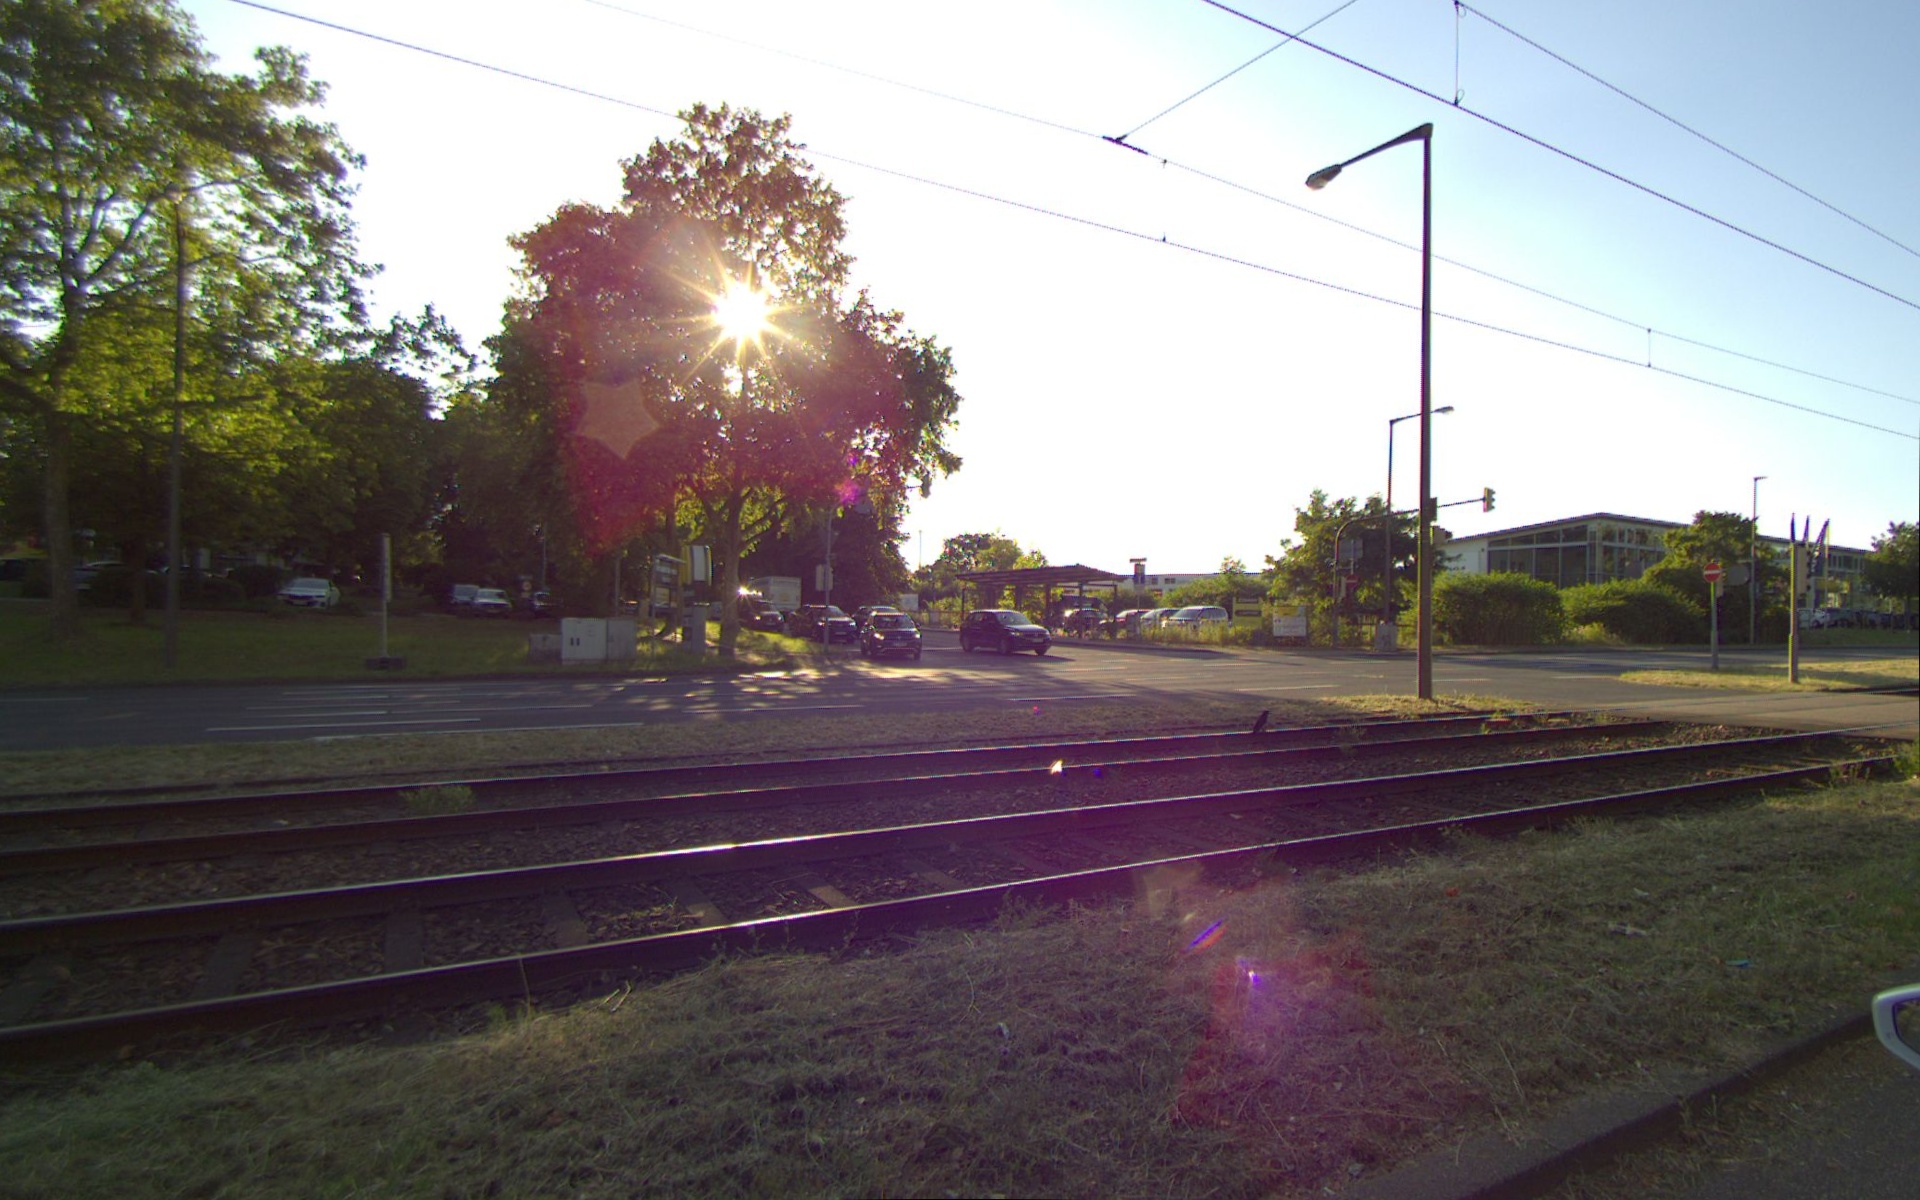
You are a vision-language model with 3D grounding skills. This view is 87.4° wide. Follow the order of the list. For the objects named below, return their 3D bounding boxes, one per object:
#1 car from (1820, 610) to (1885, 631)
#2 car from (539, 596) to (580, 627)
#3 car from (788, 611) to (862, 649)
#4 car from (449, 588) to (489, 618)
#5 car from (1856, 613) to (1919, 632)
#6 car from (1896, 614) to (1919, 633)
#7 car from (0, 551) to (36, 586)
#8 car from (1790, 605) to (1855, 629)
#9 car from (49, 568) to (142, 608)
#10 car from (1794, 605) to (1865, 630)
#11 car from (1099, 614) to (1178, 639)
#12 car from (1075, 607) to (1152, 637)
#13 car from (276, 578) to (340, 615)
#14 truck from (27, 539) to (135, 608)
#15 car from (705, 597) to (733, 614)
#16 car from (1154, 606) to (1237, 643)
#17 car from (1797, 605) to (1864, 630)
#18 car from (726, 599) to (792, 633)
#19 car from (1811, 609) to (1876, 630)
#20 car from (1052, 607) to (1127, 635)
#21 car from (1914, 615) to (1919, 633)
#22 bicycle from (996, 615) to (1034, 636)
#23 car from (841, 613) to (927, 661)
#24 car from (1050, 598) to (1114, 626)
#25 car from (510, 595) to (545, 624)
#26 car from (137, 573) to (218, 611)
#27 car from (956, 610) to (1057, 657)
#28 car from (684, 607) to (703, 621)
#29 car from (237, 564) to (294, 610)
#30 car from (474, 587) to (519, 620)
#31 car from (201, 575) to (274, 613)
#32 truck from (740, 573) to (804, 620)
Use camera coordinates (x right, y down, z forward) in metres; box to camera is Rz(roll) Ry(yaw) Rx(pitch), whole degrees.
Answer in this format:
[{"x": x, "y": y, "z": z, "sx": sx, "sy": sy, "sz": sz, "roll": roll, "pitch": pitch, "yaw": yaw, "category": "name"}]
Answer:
[{"x": 74.224, "y": 1.680, "z": 83.612, "sx": 3.940, "sy": 1.577, "sz": 1.735, "roll": 1, "pitch": 0, "yaw": 40, "category": "car"}, {"x": -20.429, "y": 0.555, "z": 51.145, "sx": 1.604, "sy": 1.477, "sz": 3.878, "roll": 2, "pitch": 0, "yaw": -27, "category": "car"}, {"x": -6.033, "y": 1.304, "z": 44.491, "sx": 1.717, "sy": 1.565, "sz": 4.298, "roll": 0, "pitch": 0, "yaw": -31, "category": "car"}, {"x": -28.562, "y": 0.171, "z": 58.502, "sx": 1.836, "sy": 1.637, "sz": 4.036, "roll": 2, "pitch": 0, "yaw": -23, "category": "car"}, {"x": 81.782, "y": 1.973, "z": 88.510, "sx": 1.728, "sy": 1.577, "sz": 3.957, "roll": 1, "pitch": 0, "yaw": -37, "category": "car"}, {"x": 88.399, "y": 2.193, "z": 91.742, "sx": 1.725, "sy": 1.642, "sz": 3.962, "roll": 1, "pitch": 0, "yaw": -34, "category": "car"}, {"x": -53.852, "y": -1.787, "z": 56.391, "sx": 2.274, "sy": 1.875, "sz": 5.220, "roll": 2, "pitch": 1, "yaw": -36, "category": "car"}, {"x": 69.340, "y": 1.356, "z": 80.829, "sx": 3.940, "sy": 1.840, "sz": 1.735, "roll": 1, "pitch": 0, "yaw": 40, "category": "car"}, {"x": -36.079, "y": -0.489, "z": 42.029, "sx": 1.916, "sy": 1.530, "sz": 4.071, "roll": 2, "pitch": 0, "yaw": -26, "category": "car"}, {"x": 65.193, "y": 1.300, "z": 75.372, "sx": 3.940, "sy": 1.727, "sz": 1.735, "roll": 1, "pitch": 0, "yaw": 40, "category": "car"}, {"x": 9.952, "y": 1.457, "z": 55.873, "sx": 4.123, "sy": 1.284, "sz": 1.853, "roll": 1, "pitch": 0, "yaw": -30, "category": "car"}, {"x": 8.833, "y": 1.255, "z": 57.805, "sx": 4.123, "sy": 1.604, "sz": 1.853, "roll": 1, "pitch": 0, "yaw": -30, "category": "car"}, {"x": -29.423, "y": -0.167, "z": 45.446, "sx": 1.916, "sy": 1.530, "sz": 4.071, "roll": 2, "pitch": 0, "yaw": -26, "category": "car"}, {"x": -44.505, "y": -1.262, "z": 51.073, "sx": 2.468, "sy": 3.209, "sz": 6.187, "roll": 2, "pitch": 0, "yaw": -26, "category": "truck"}, {"x": -22.794, "y": 0.517, "z": 94.834, "sx": 1.711, "sy": 1.603, "sz": 4.028, "roll": 1, "pitch": 0, "yaw": -27, "category": "car"}, {"x": 12.374, "y": 1.293, "z": 52.741, "sx": 4.123, "sy": 1.846, "sz": 1.853, "roll": 1, "pitch": 0, "yaw": -30, "category": "car"}, {"x": 68.377, "y": 1.341, "z": 78.984, "sx": 3.940, "sy": 1.840, "sz": 1.735, "roll": 1, "pitch": 0, "yaw": 40, "category": "car"}, {"x": -10.479, "y": 0.803, "z": 52.169, "sx": 1.824, "sy": 1.656, "sz": 4.270, "roll": 1, "pitch": 0, "yaw": -34, "category": "car"}, {"x": 72.004, "y": 1.589, "z": 81.945, "sx": 3.940, "sy": 1.577, "sz": 1.735, "roll": 1, "pitch": 0, "yaw": 40, "category": "car"}, {"x": 7.729, "y": 1.263, "z": 59.999, "sx": 4.123, "sy": 1.604, "sz": 1.968, "roll": 1, "pitch": 0, "yaw": -30, "category": "car"}, {"x": 91.315, "y": 2.303, "z": 93.021, "sx": 1.725, "sy": 1.642, "sz": 3.962, "roll": 1, "pitch": 0, "yaw": -34, "category": "car"}, {"x": 3.082, "y": 1.458, "z": 56.419, "sx": 2.004, "sy": 1.119, "sz": 0.777, "roll": 2, "pitch": 0, "yaw": -30, "category": "bicycle"}, {"x": -2.741, "y": 1.283, "z": 35.462, "sx": 1.734, "sy": 1.578, "sz": 3.948, "roll": 1, "pitch": -2, "yaw": -25, "category": "car"}, {"x": 9.301, "y": 0.897, "z": 76.670, "sx": 4.714, "sy": 2.041, "sz": 1.853, "roll": 1, "pitch": 0, "yaw": -30, "category": "car"}, {"x": -26.148, "y": 0.546, "z": 60.798, "sx": 1.836, "sy": 1.637, "sz": 4.036, "roll": 2, "pitch": 0, "yaw": -23, "category": "car"}, {"x": -33.947, "y": -0.331, "z": 43.692, "sx": 1.916, "sy": 1.530, "sz": 4.071, "roll": 2, "pitch": 0, "yaw": -26, "category": "car"}, {"x": 1.709, "y": 1.238, "z": 38.103, "sx": 1.855, "sy": 1.656, "sz": 4.337, "roll": 1, "pitch": -1, "yaw": -29, "category": "car"}, {"x": -33.316, "y": 1.695, "z": 125.477, "sx": 1.887, "sy": 1.602, "sz": 4.036, "roll": 2, "pitch": 0, "yaw": -21, "category": "car"}, {"x": -37.288, "y": -0.687, "z": 54.016, "sx": 2.138, "sy": 2.334, "sz": 4.370, "roll": 2, "pitch": 0, "yaw": -31, "category": "car"}, {"x": -22.925, "y": 0.148, "z": 49.596, "sx": 1.916, "sy": 1.530, "sz": 4.071, "roll": 2, "pitch": 0, "yaw": -26, "category": "car"}, {"x": -32.105, "y": -0.262, "z": 44.764, "sx": 1.916, "sy": 1.530, "sz": 4.071, "roll": 2, "pitch": 0, "yaw": -26, "category": "car"}, {"x": -15.035, "y": -0.292, "z": 79.796, "sx": 2.782, "sy": 3.520, "sz": 8.292, "roll": 1, "pitch": 0, "yaw": -27, "category": "truck"}]
